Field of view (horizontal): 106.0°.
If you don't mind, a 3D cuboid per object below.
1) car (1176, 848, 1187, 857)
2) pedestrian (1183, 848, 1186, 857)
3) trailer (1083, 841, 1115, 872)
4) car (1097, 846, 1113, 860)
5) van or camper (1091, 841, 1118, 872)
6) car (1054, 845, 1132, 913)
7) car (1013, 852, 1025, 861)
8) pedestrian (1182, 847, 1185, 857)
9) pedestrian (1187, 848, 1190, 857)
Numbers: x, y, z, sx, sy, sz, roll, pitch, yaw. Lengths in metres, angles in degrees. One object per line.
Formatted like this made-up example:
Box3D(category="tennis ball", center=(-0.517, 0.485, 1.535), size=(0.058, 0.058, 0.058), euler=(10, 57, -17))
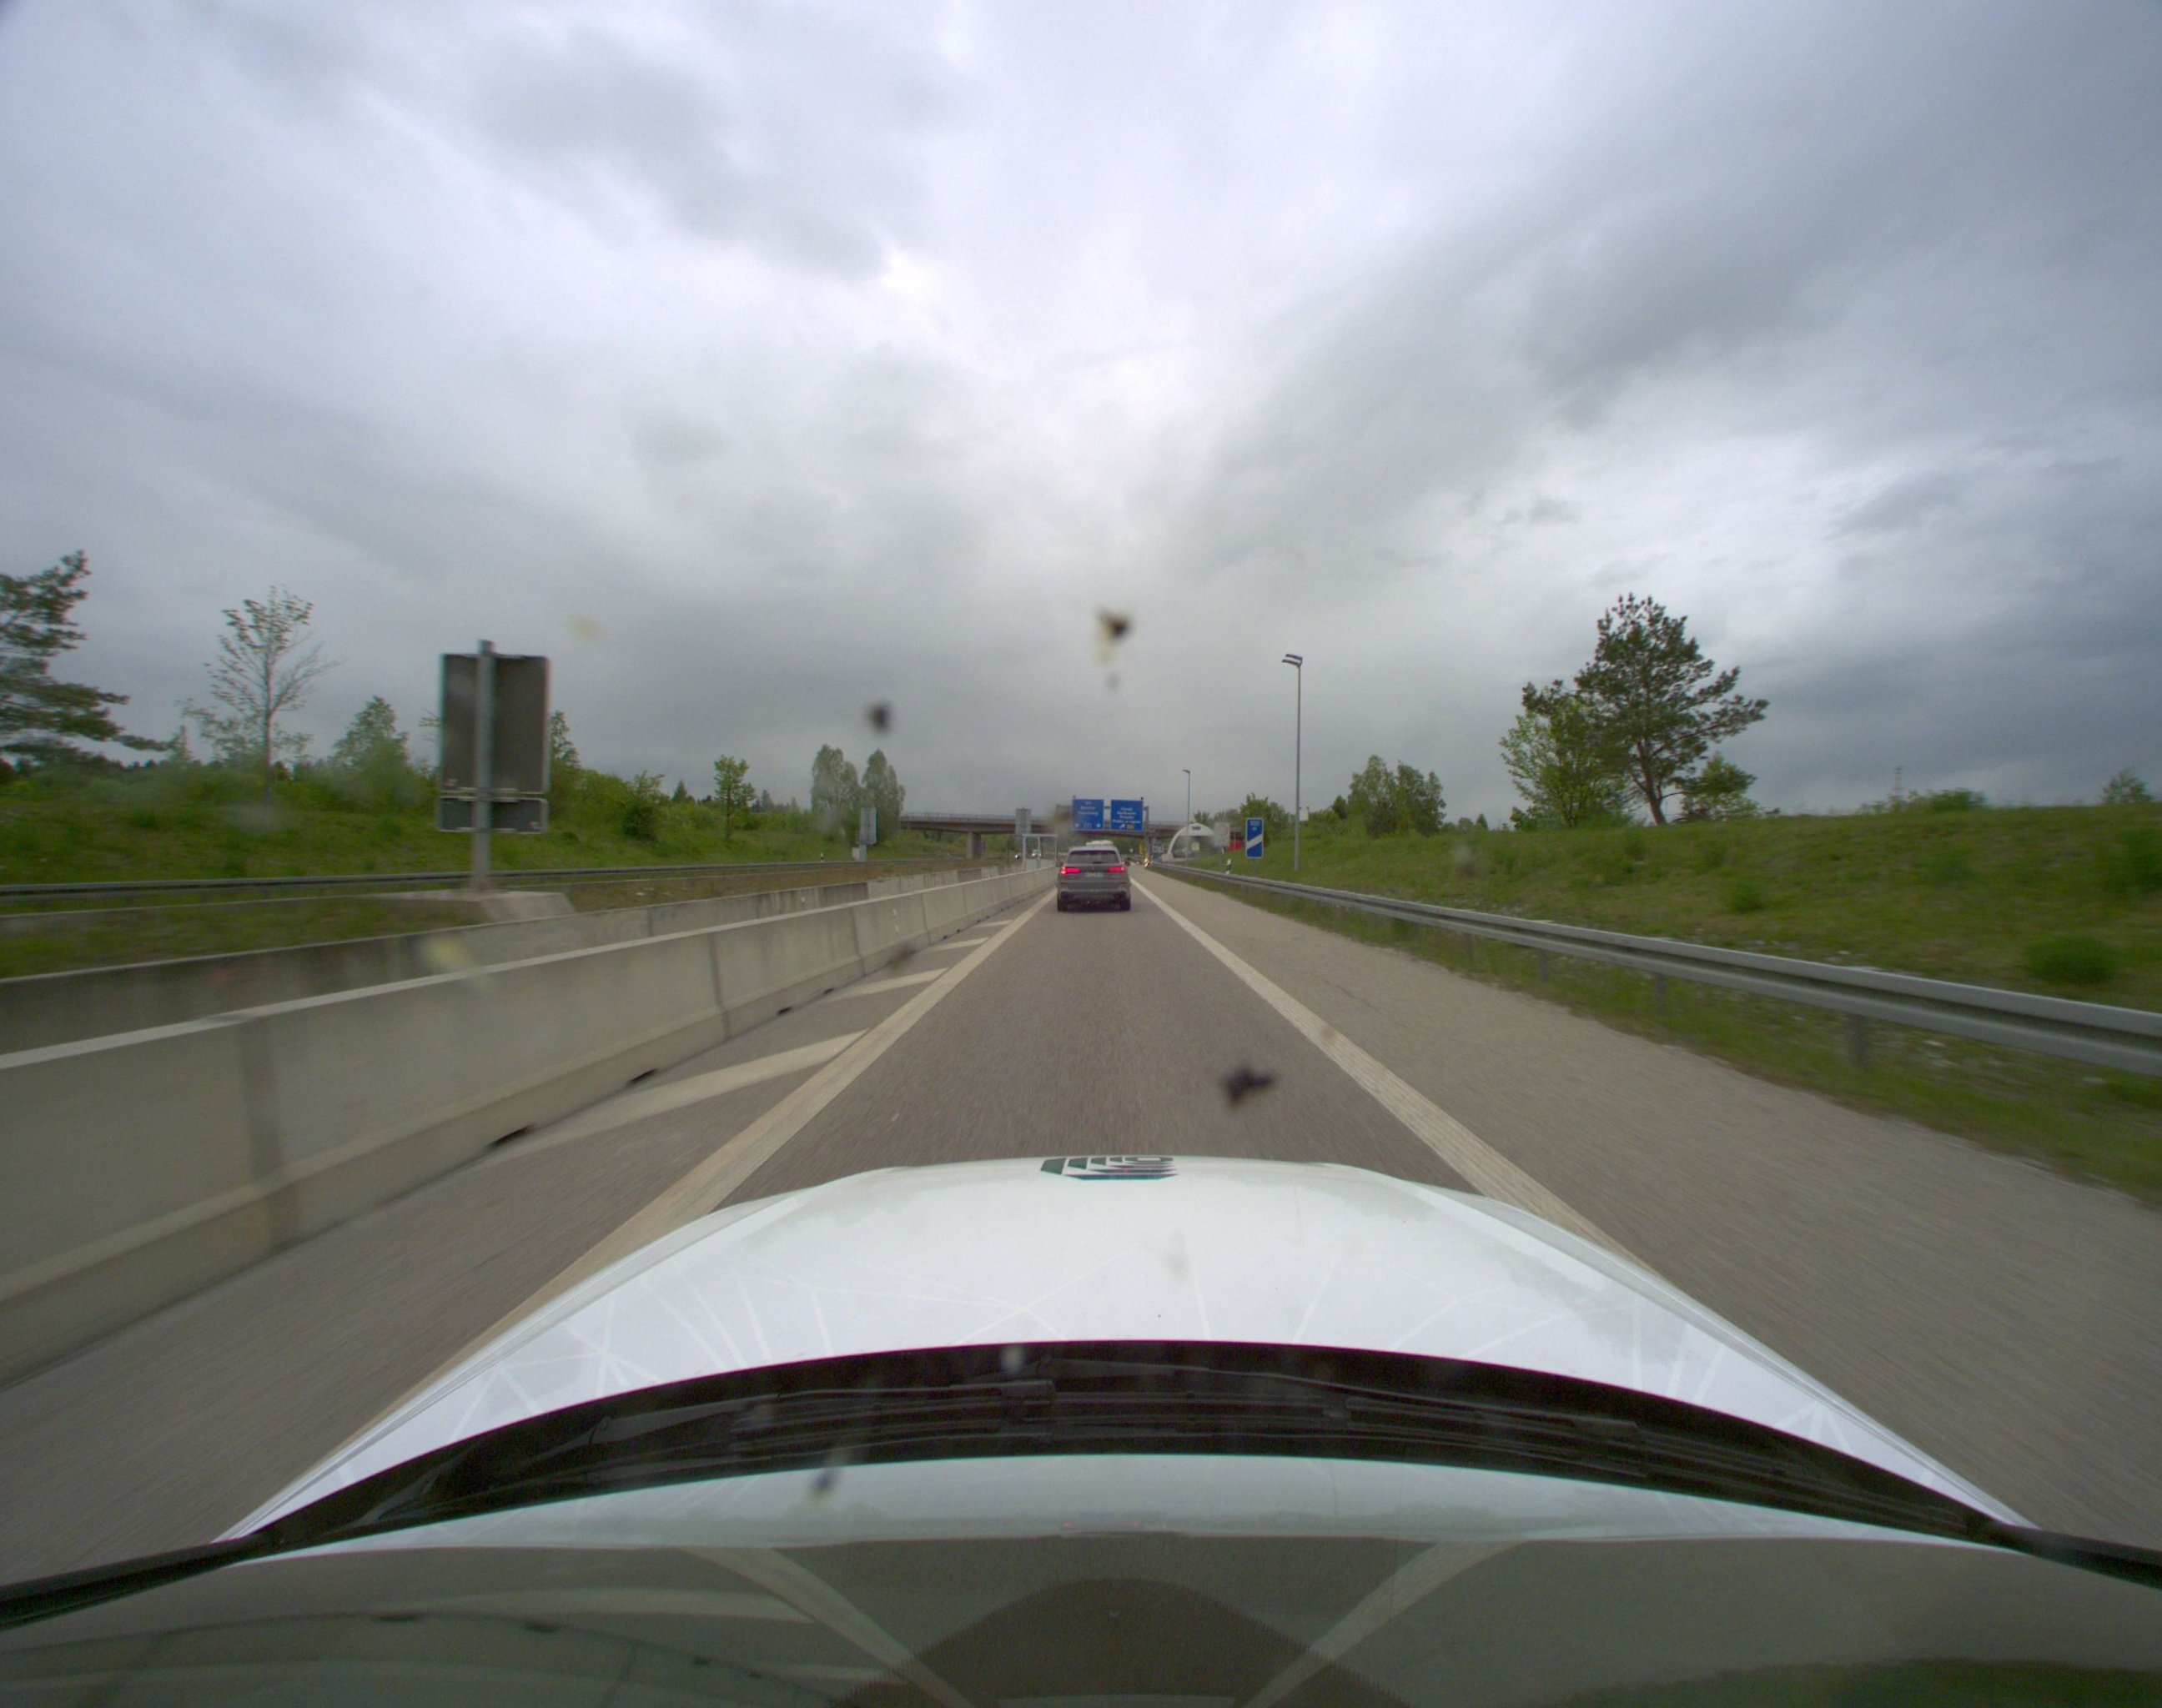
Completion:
Box3D(category="car", center=(20.685, -0.272, 167.773), size=(1.984, 1.772, 3.771), euler=(-1, 0, 5))
Box3D(category="pedestrian", center=(21.594, -0.317, 170.069), size=(0.716, 1.775, 0.691), euler=(-1, 0, 6))
Box3D(category="trailer", center=(1.608, 0.207, 68.417), size=(2.268, 2.430, 6.826), euler=(-1, 0, 5))
Box3D(category="car", center=(3.541, -0.124, 121.452), size=(2.279, 2.013, 5.049), euler=(0, 1, 0))
Box3D(category="van or camper", center=(2.201, 0.232, 74.753), size=(2.146, 2.763, 5.880), euler=(-1, 0, 5))
Box3D(category="car", center=(0.375, 0.636, 22.898), size=(1.986, 1.719, 4.001), euler=(-1, 0, 1))
Box3D(category="car", center=(-11.279, 0.525, 147.480), size=(1.696, 1.575, 4.178), euler=(0, 0, 2))
Box3D(category="pedestrian", center=(21.531, -0.399, 171.232), size=(0.716, 1.945, 0.691), euler=(-1, 0, 6))
Box3D(category="pedestrian", center=(22.549, -0.346, 171.116), size=(0.645, 1.775, 0.606), euler=(-1, 0, 4))
